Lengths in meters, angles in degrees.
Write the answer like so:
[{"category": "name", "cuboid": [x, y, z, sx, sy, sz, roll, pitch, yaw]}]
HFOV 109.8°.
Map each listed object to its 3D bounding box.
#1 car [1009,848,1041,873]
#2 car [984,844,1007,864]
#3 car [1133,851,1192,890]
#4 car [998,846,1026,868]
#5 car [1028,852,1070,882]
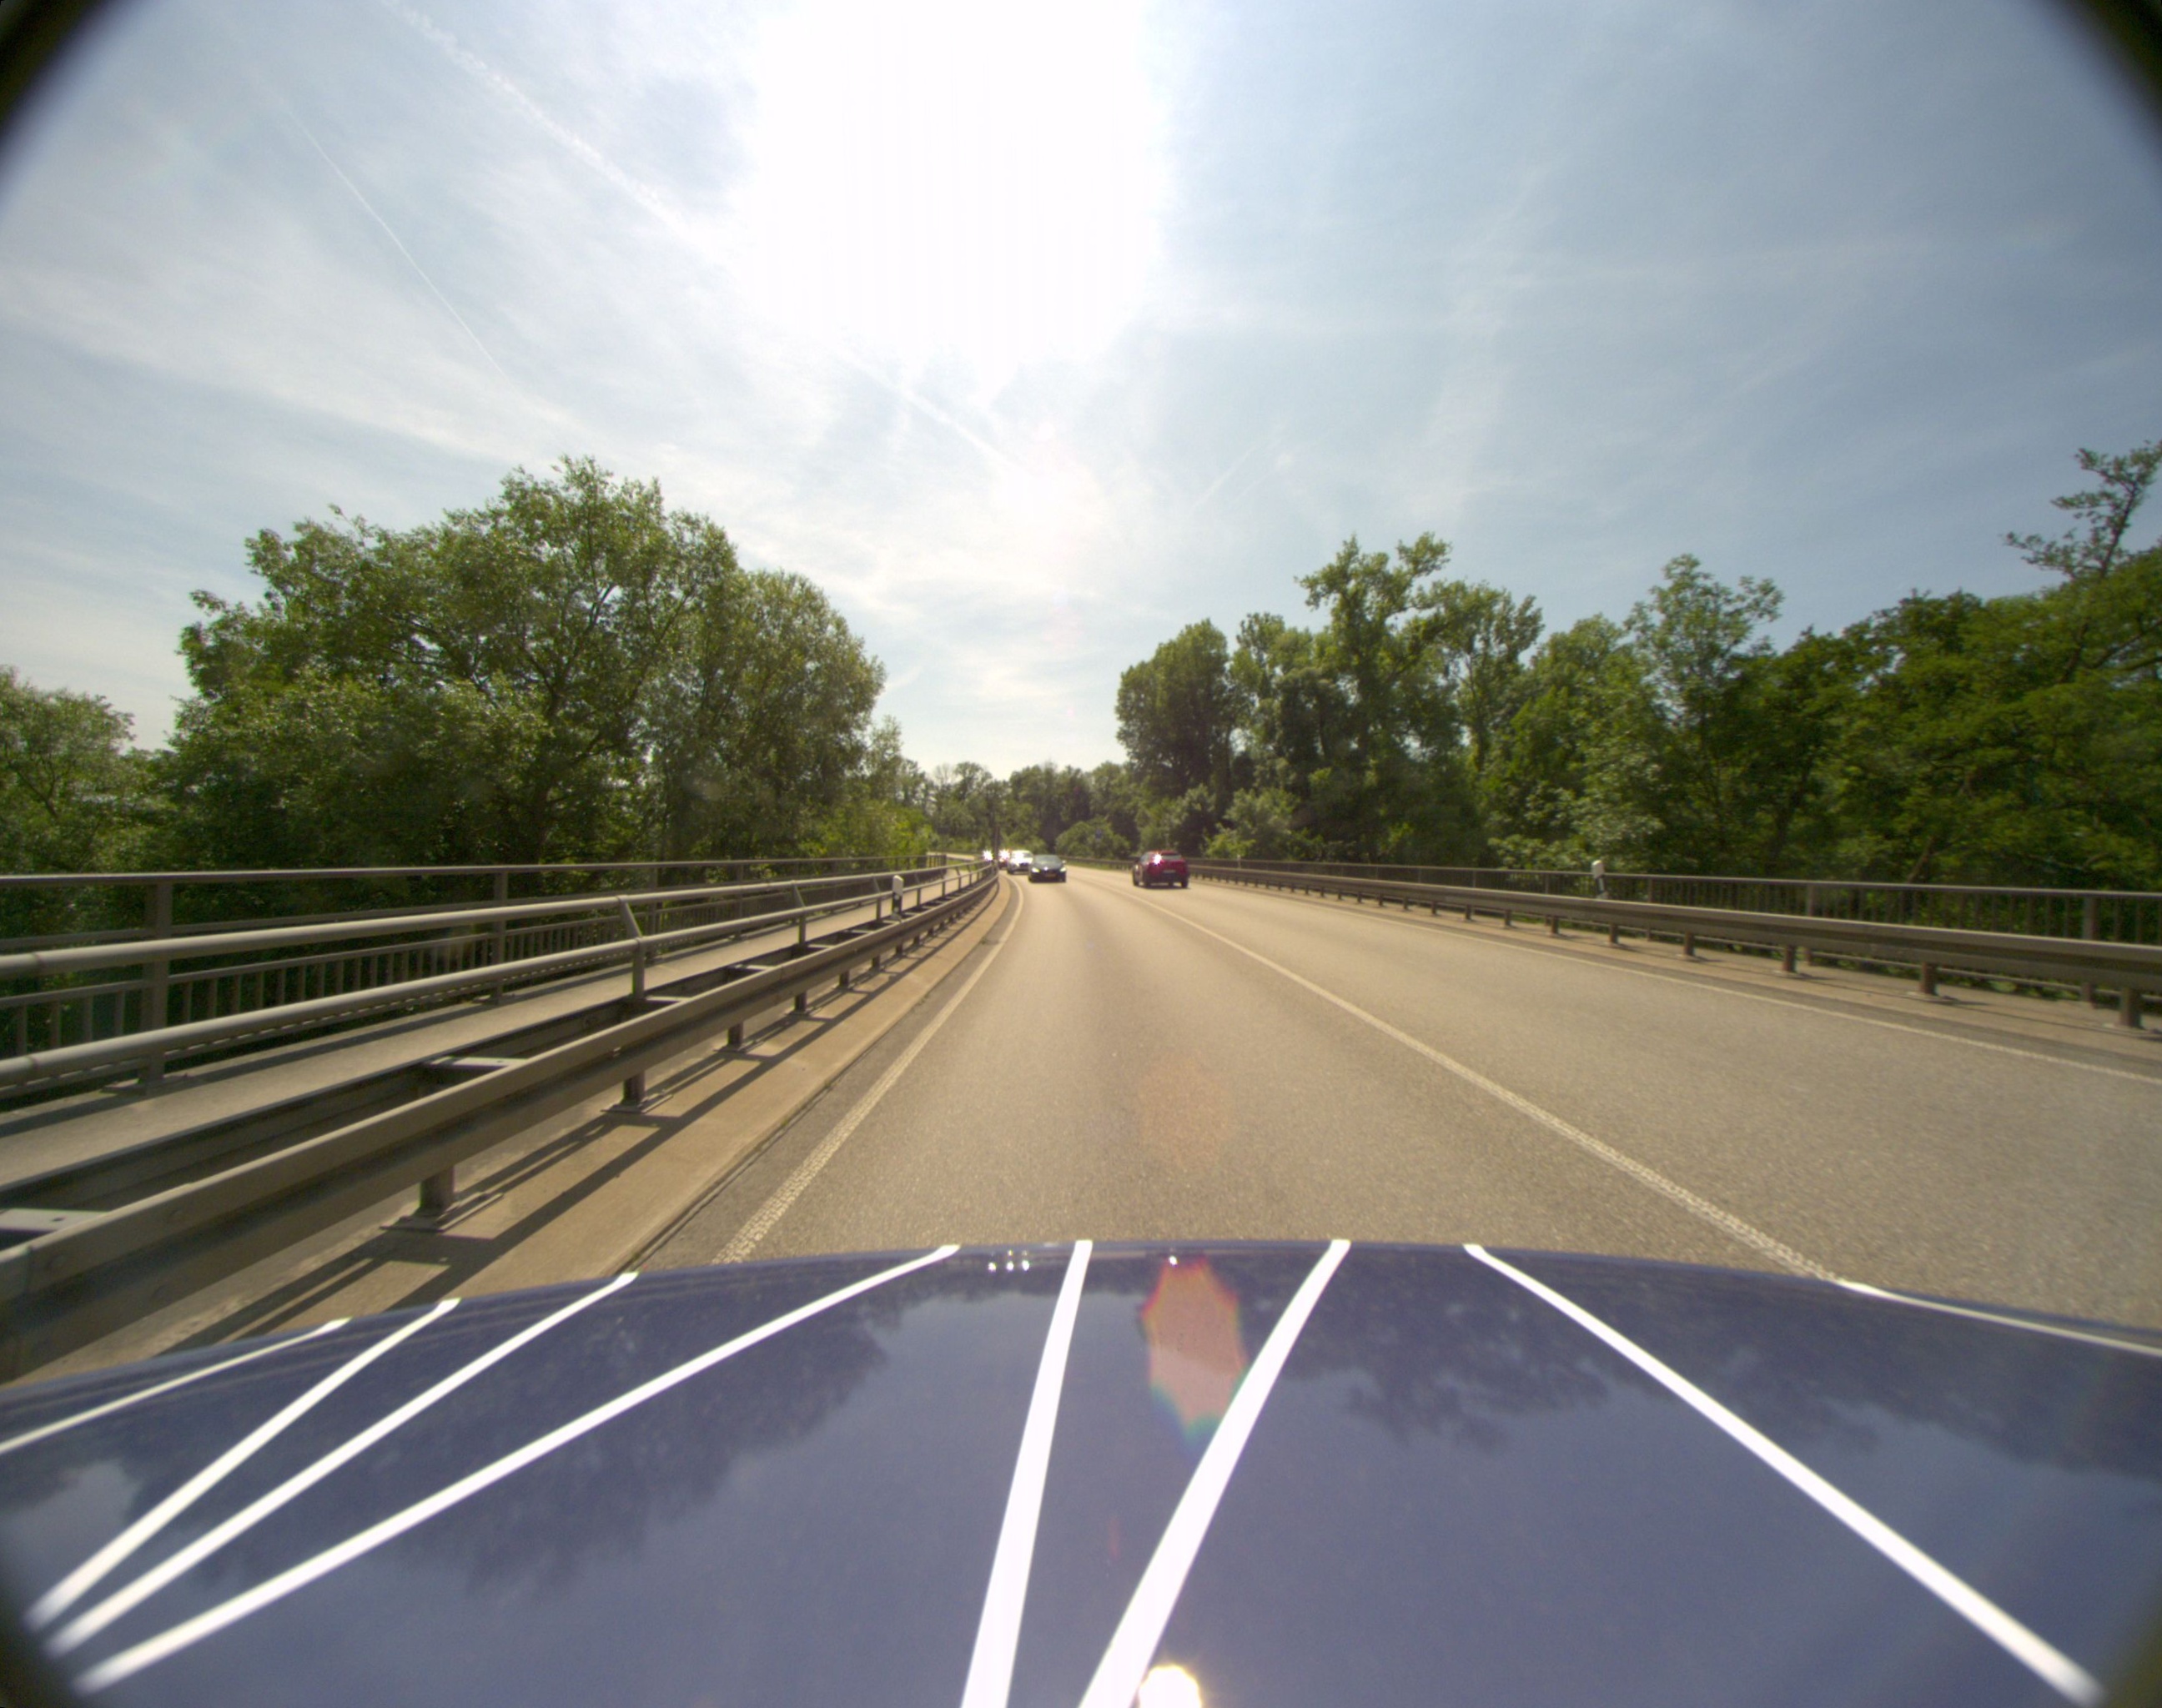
[{"category": "car", "cuboid": [-4.008, 0.445, 53.908, 1.911, 1.638, 3.946, -2, 1, -10]}, {"category": "car", "cuboid": [-9.101, 0.013, 81.077, 2.000, 2.002, 3.995, -2, 1, -12]}, {"category": "car", "cuboid": [3.390, 0.649, 32.221, 1.824, 1.514, 3.948, -1, 0, -4]}, {"category": "car", "cuboid": [-5.977, 0.238, 65.334, 2.000, 1.765, 3.996, -1, 0, -12]}, {"category": "car", "cuboid": [-1.726, 0.668, 40.142, 1.910, 1.413, 3.947, -2, 1, -6]}]
